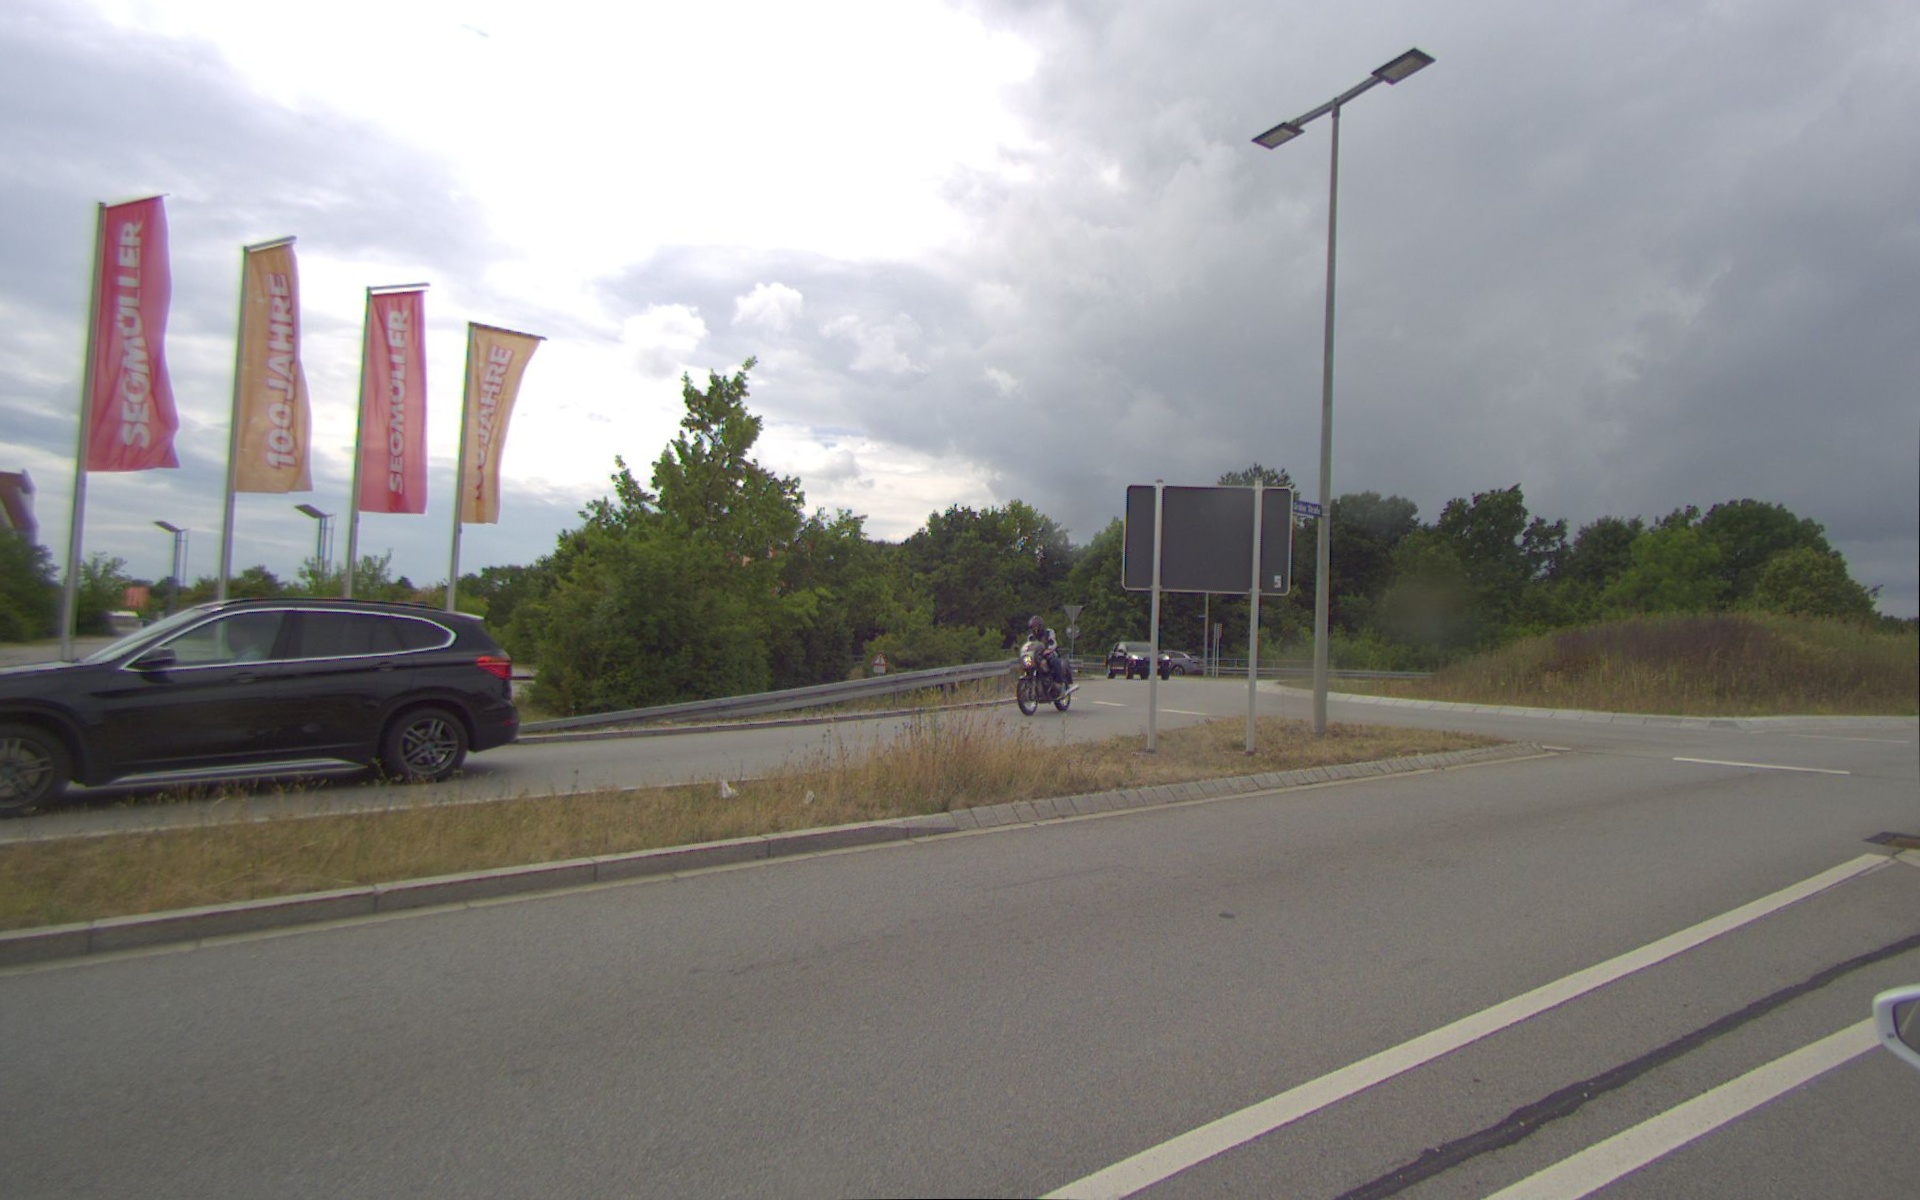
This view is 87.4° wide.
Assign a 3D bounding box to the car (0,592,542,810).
[{"bbox_3d":[-6.077,0.776,8.569,4.252,1.486,1.869,3,-4,-44],"label":"car"}]

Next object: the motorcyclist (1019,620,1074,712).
[{"bbox_3d":[1.541,1.155,17.844,0.663,1.597,0.844,-1,-2,34],"label":"motorcyclist"}]

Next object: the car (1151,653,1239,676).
[{"bbox_3d":[12.817,3.510,54.842,4.397,1.190,1.631,-1,-3,30],"label":"car"}]

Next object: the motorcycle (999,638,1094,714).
[{"bbox_3d":[1.576,1.309,17.875,0.691,1.246,2.243,-1,-2,33],"label":"motorcycle"}]

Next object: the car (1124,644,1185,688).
[{"bbox_3d":[8.811,3.057,45.913,2.063,1.813,5.056,2,-5,4],"label":"car"}]
